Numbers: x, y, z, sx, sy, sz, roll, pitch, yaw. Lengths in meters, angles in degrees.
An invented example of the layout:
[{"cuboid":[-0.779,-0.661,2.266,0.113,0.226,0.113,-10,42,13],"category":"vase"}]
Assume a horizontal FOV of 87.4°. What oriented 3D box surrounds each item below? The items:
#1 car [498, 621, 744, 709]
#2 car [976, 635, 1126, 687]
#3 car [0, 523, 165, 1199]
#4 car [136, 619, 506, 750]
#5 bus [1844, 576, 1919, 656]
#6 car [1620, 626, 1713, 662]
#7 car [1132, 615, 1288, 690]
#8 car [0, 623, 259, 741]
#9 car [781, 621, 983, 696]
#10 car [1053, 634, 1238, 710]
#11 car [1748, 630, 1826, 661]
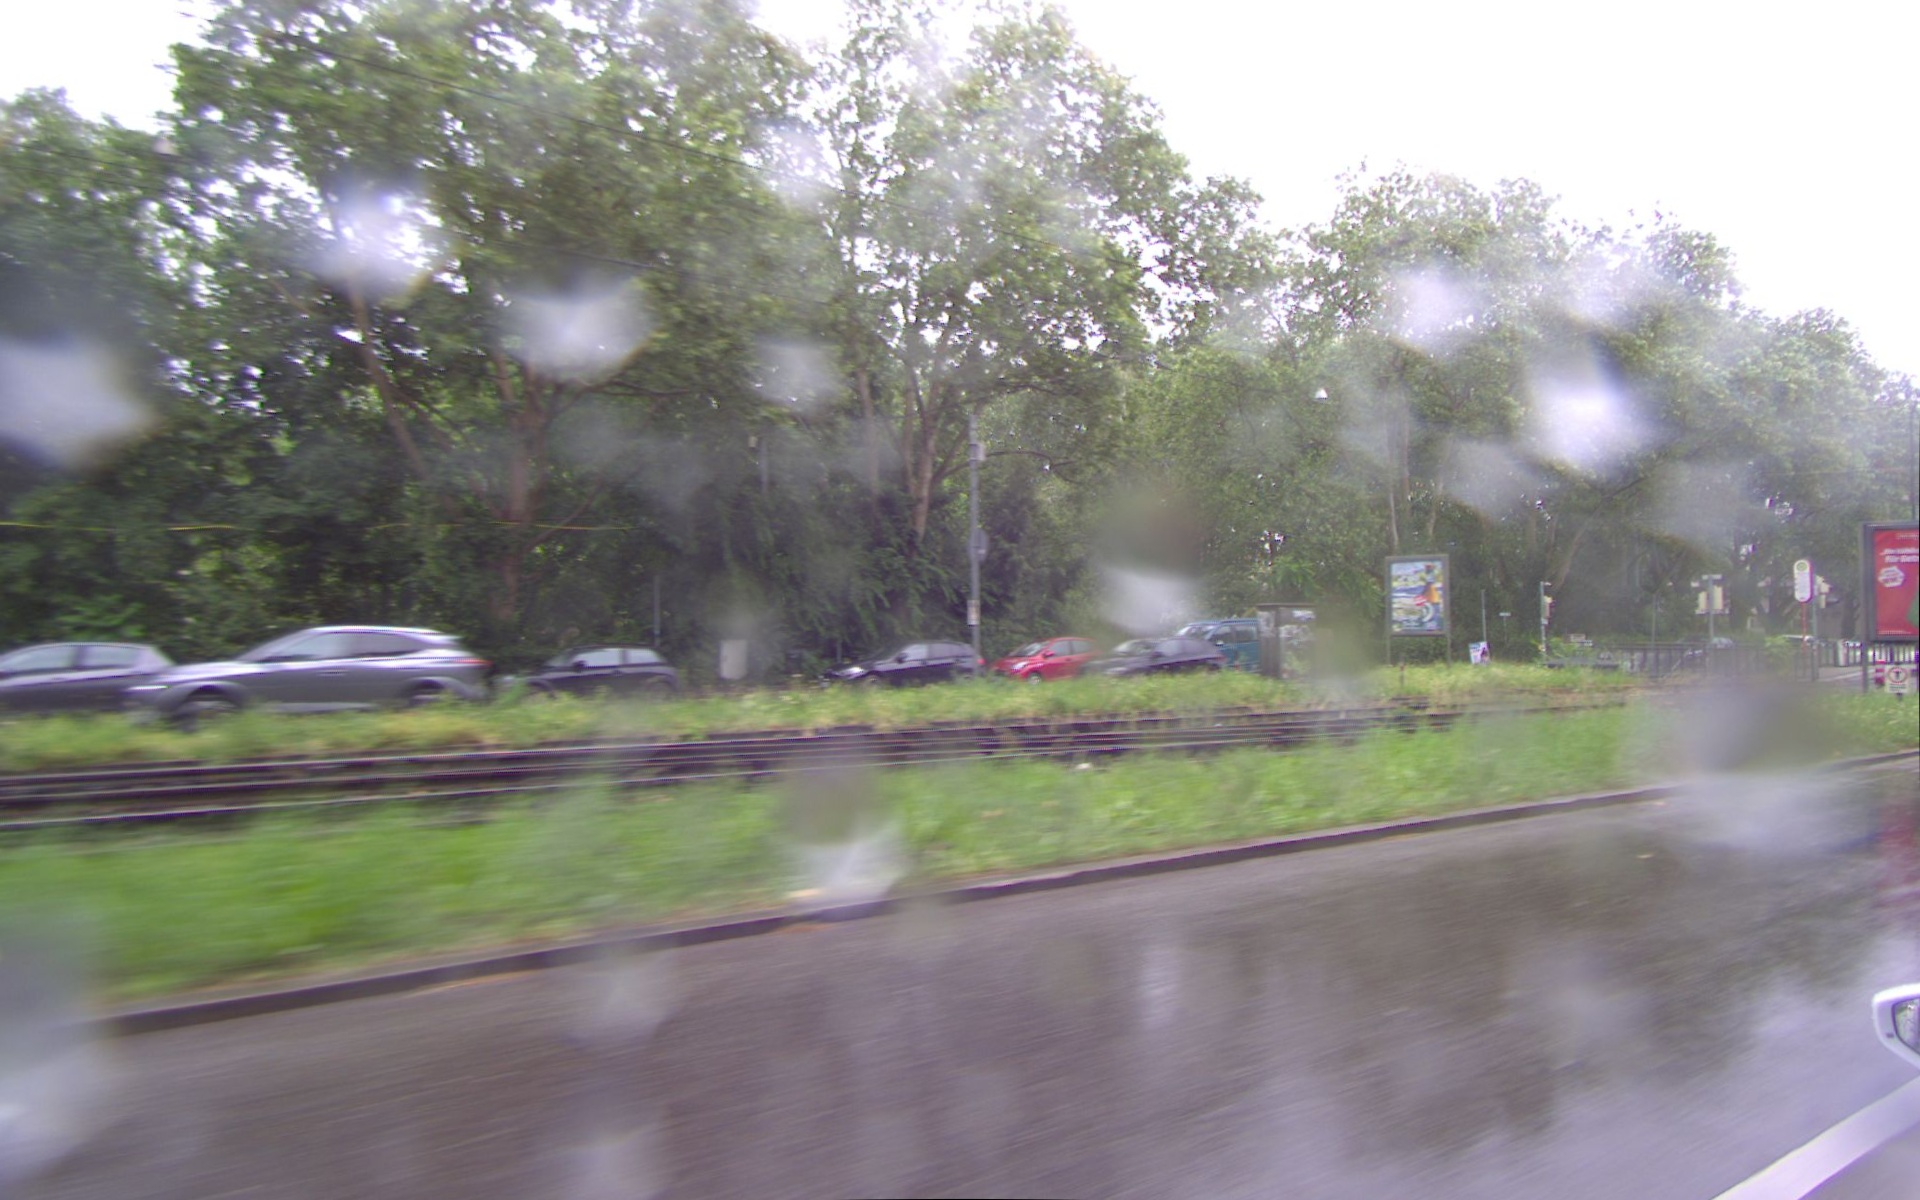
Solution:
[{"cuboid":[-7.095,1.338,21.173,4.561,1.679,2.020,2,-3,-33],"category":"car"},{"cuboid":[2.533,1.648,27.526,3.947,1.334,1.725,2,-3,-35],"category":"car"},{"cuboid":[-3.810,0.626,1.166,4.210,1.645,1.857,2,-1,-29],"category":"car"},{"cuboid":[-9.286,1.188,14.954,4.349,1.679,2.002,2,-3,-33],"category":"car"},{"cuboid":[51.137,0.934,53.334,12.111,3.889,3.013,2,-1,-32],"category":"bus"},{"cuboid":[31.890,1.967,45.314,3.954,1.537,1.984,1,-2,-31],"category":"car"},{"cuboid":[7.680,1.606,30.727,4.756,2.120,2.019,2,-3,-35],"category":"car"},{"cuboid":[-14.315,1.295,16.336,4.644,1.774,2.020,2,-3,-33],"category":"car"},{"cuboid":[-1.873,1.413,24.666,4.561,1.679,2.020,2,-3,-33],"category":"car"},{"cuboid":[4.514,1.692,24.315,4.233,1.679,2.019,2,-3,-34],"category":"car"},{"cuboid":[42.908,2.331,52.103,3.954,1.537,1.925,1,-2,-31],"category":"car"}]
